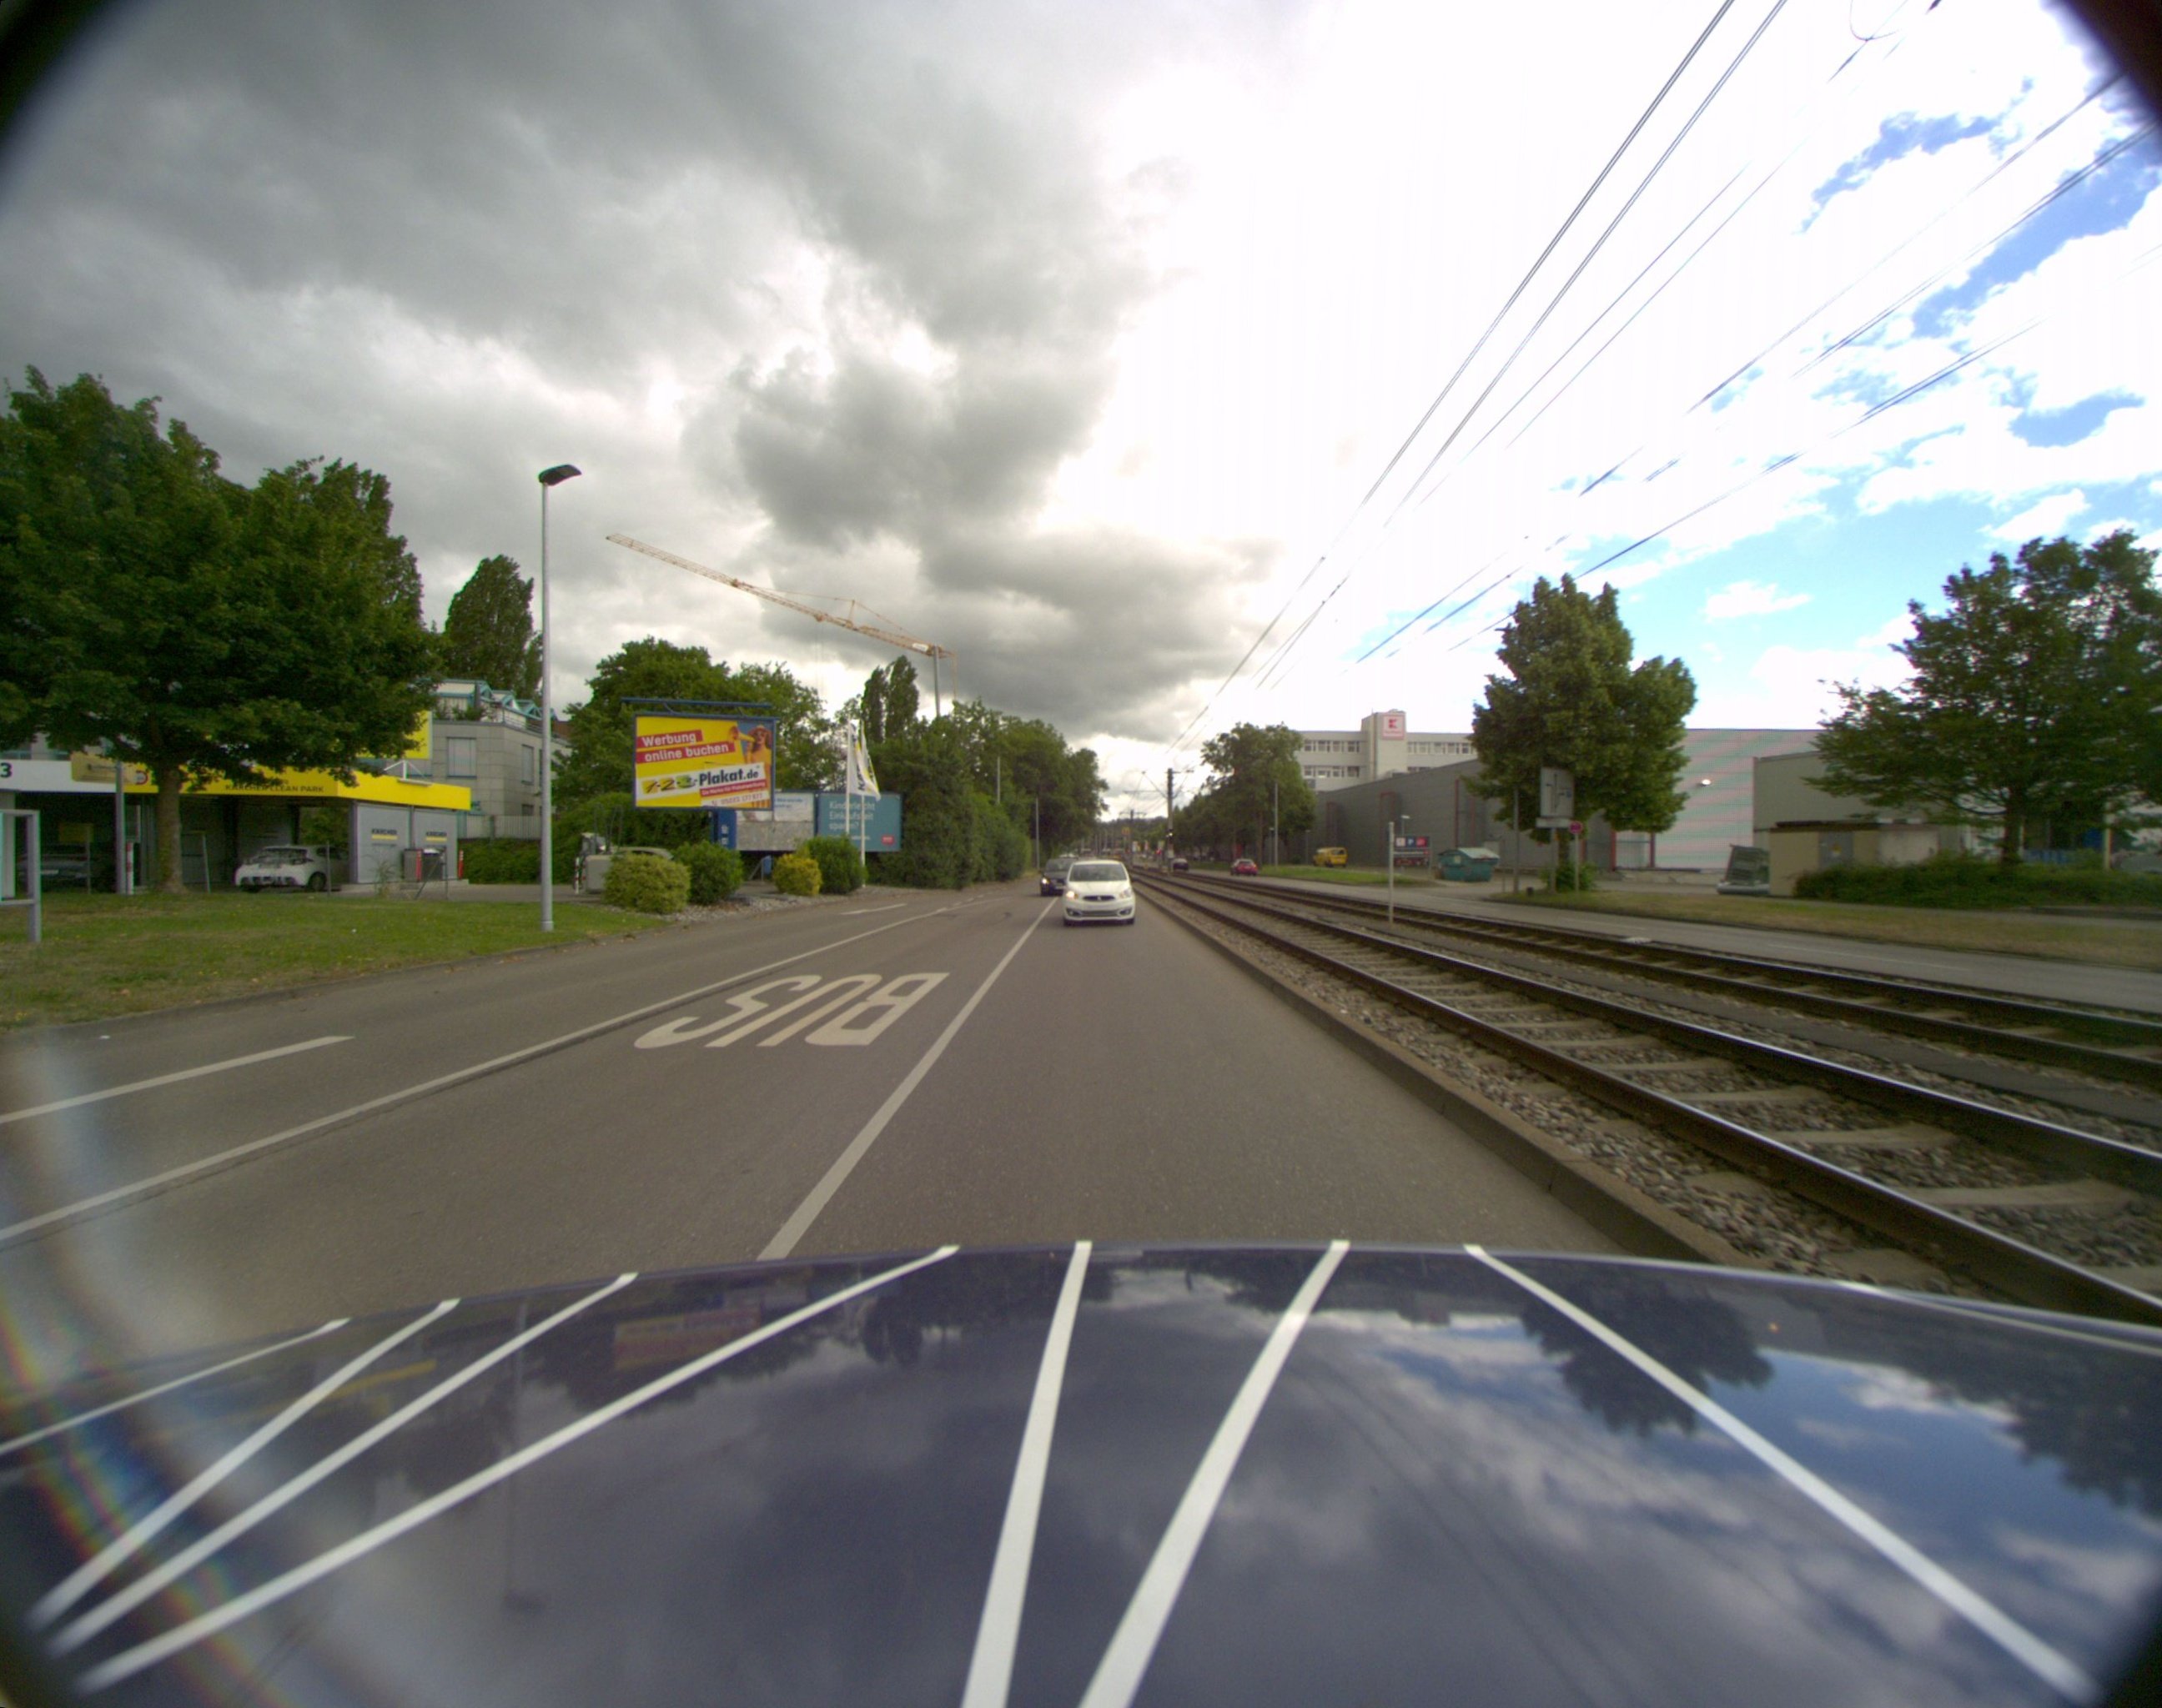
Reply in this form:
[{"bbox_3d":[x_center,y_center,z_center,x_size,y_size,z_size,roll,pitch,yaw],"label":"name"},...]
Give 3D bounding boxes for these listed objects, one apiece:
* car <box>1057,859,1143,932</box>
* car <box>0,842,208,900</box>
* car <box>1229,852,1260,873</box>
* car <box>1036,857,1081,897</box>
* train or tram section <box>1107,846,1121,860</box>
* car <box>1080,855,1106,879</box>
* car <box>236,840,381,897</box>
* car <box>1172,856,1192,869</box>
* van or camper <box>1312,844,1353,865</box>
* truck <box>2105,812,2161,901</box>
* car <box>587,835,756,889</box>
[{"bbox_3d":[0.413,0.883,17.973,1.765,1.469,4.031,-2,0,0],"label":"car"},{"bbox_3d":[-28.566,0.458,22.329,1.839,1.564,3.926,0,0,-12],"label":"car"},{"bbox_3d":[14.303,0.744,66.546,1.797,1.761,3.999,0,0,-1],"label":"car"},{"bbox_3d":[-0.905,0.915,32.539,1.714,1.586,4.000,-1,0,1],"label":"car"},{"bbox_3d":[9.298,-0.185,215.323,2.778,3.753,13.785,-1,0,-1],"label":"train or tram section"},{"bbox_3d":[0.818,0.882,53.222,1.693,1.521,4.000,-2,0,1],"label":"car"},{"bbox_3d":[-24.059,0.424,23.843,1.633,1.630,3.525,0,0,-16],"label":"car"},{"bbox_3d":[11.797,0.997,88.900,1.763,1.393,4.443,2,0,0],"label":"car"},{"bbox_3d":[25.137,0.039,76.169,2.109,2.002,5.241,-1,0,-3],"label":"van or camper"},{"bbox_3d":[29.688,0.071,18.649,1.998,2.368,5.264,0,0,1],"label":"truck"},{"bbox_3d":[-13.205,0.261,24.855,4.029,1.646,2.944,0,0,-6],"label":"car"}]
